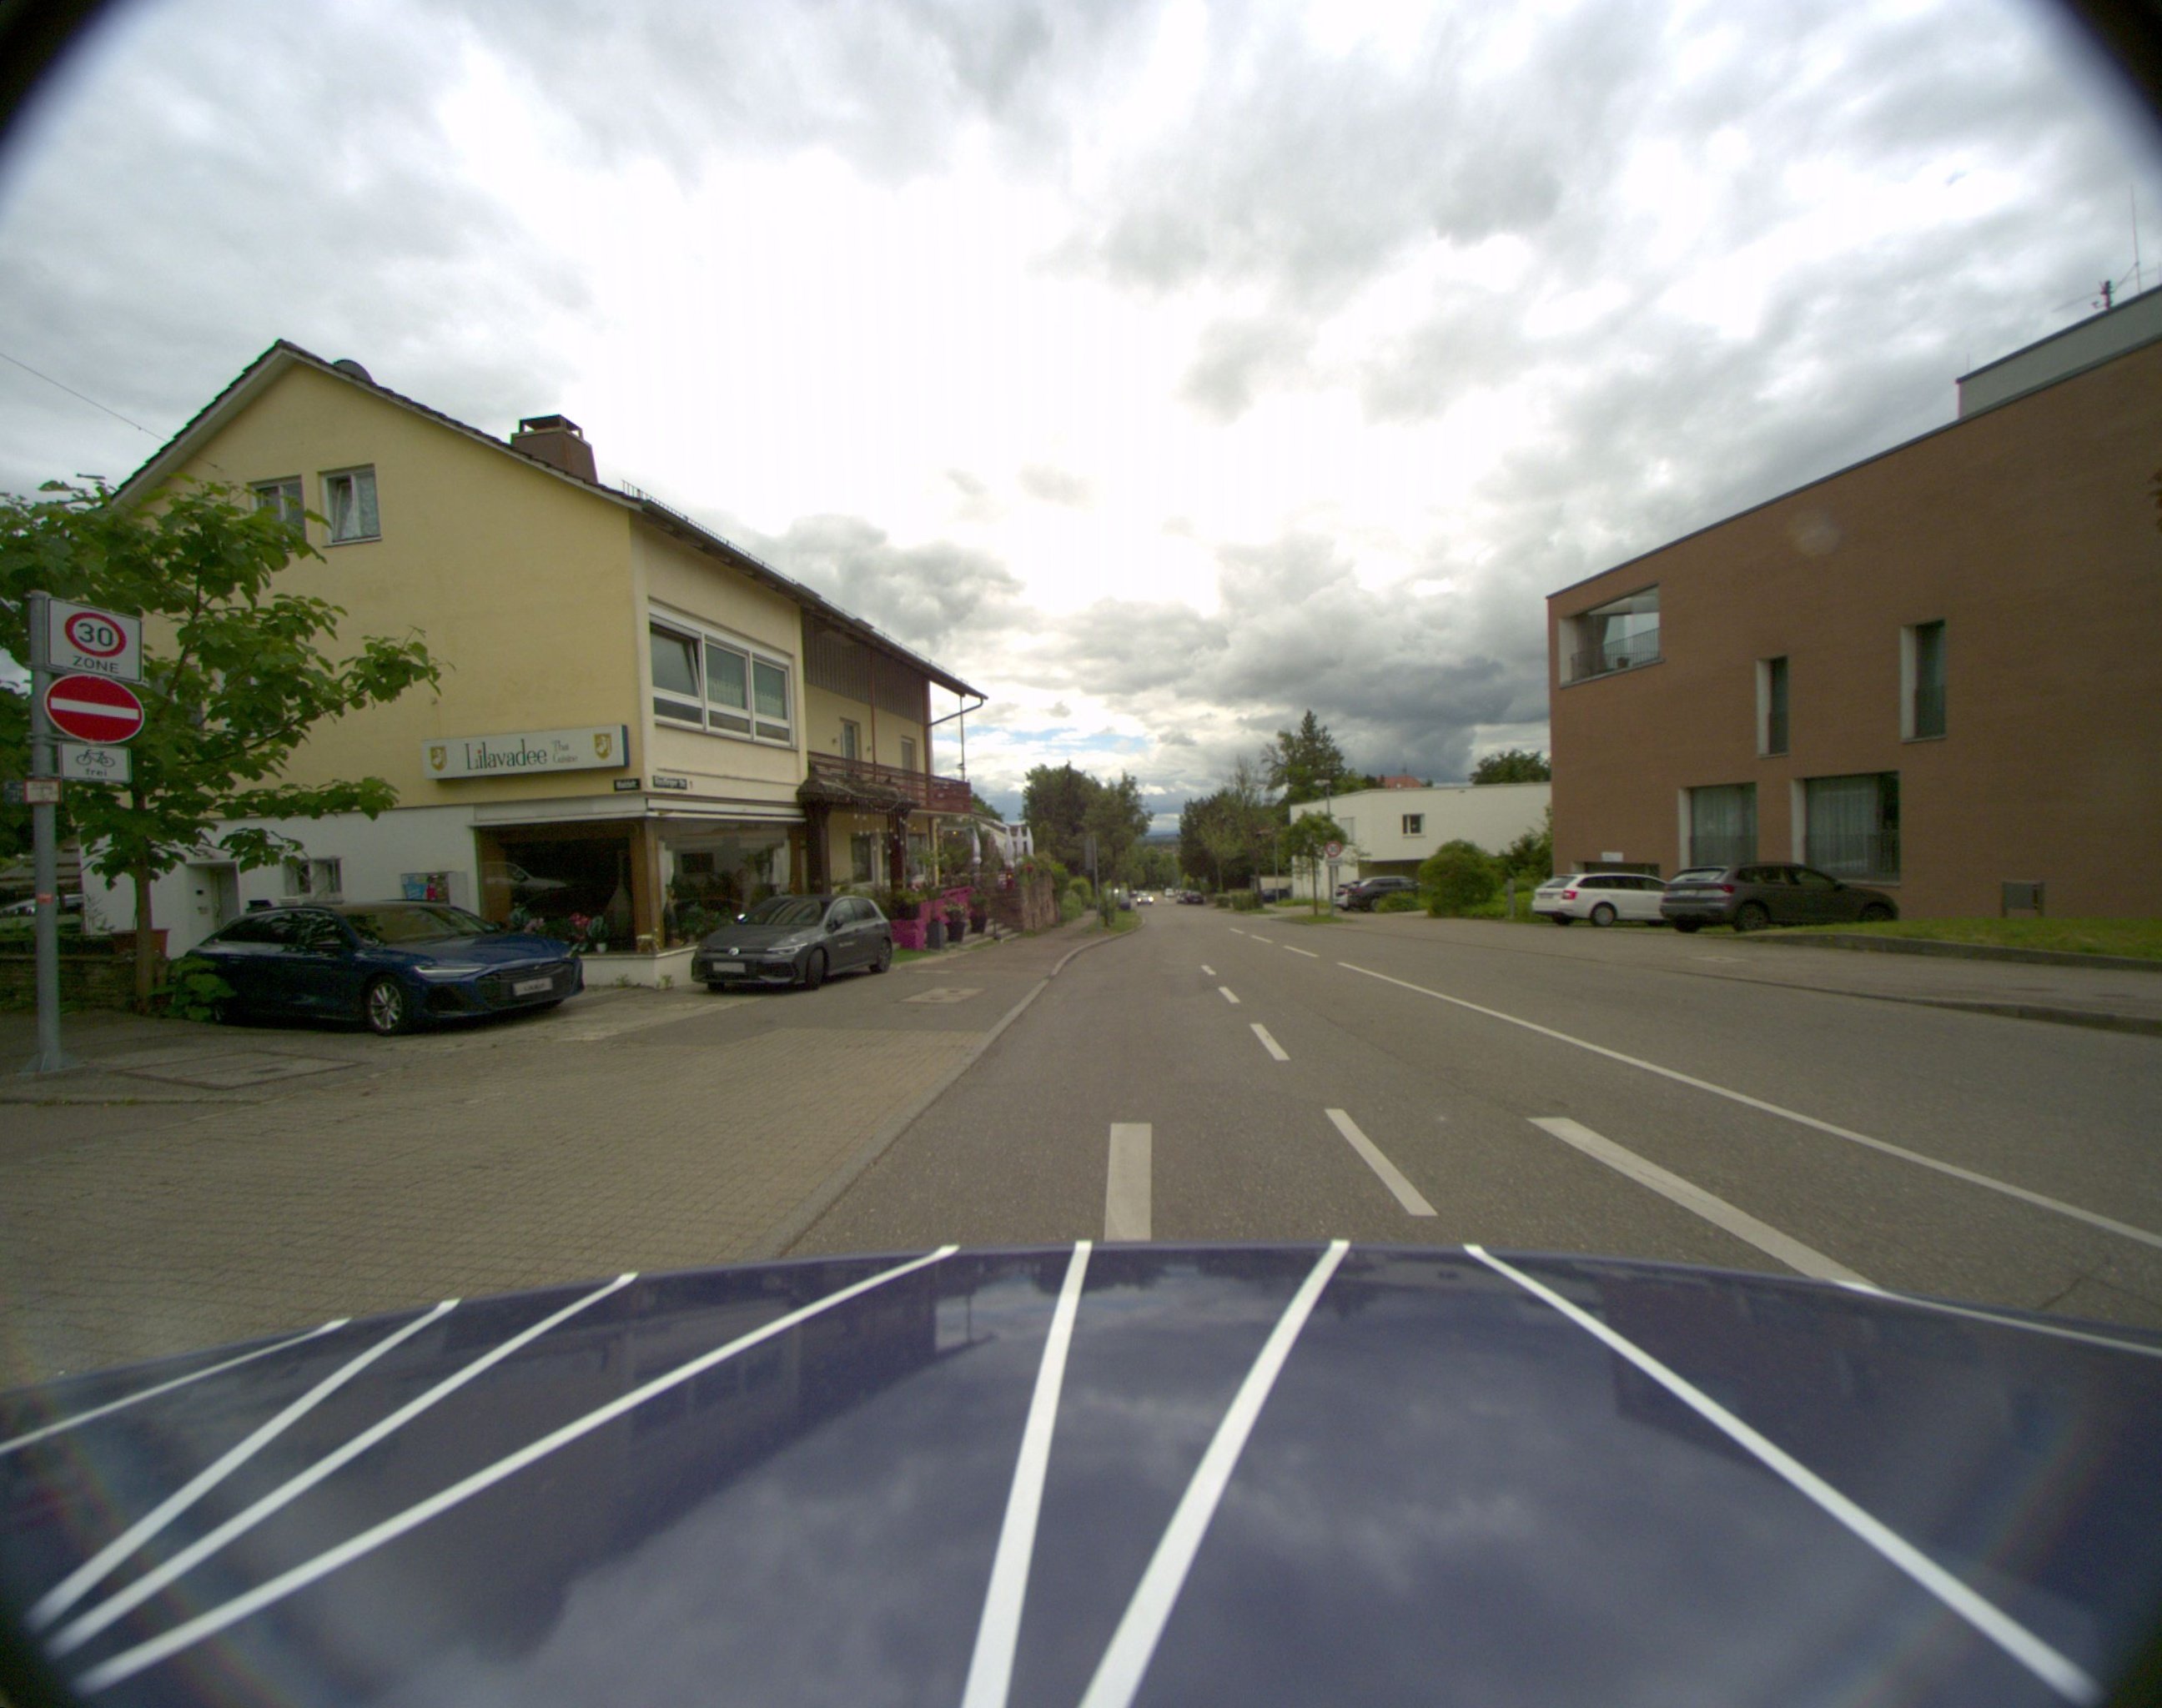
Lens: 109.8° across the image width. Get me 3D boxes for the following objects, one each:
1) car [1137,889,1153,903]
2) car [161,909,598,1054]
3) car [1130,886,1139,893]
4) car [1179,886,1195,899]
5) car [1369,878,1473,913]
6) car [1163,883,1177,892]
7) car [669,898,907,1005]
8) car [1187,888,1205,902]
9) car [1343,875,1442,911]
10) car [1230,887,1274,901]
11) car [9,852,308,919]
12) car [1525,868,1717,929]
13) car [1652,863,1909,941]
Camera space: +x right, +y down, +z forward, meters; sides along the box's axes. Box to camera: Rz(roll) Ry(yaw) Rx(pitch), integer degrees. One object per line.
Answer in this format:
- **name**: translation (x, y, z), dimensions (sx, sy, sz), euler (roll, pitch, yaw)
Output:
- **car**: translation (7.424, 4.827, 88.002), dimensions (1.725, 1.476, 4.004), euler (-2, -3, 5)
- **car**: translation (-8.528, 1.417, 9.281), dimensions (4.739, 1.378, 1.802), euler (-2, -1, 18)
- **car**: translation (12.968, 8.565, 184.044), dimensions (1.883, 1.412, 4.369), euler (-1, -1, 1)
- **car**: translation (12.496, 4.545, 89.569), dimensions (1.661, 1.412, 4.372), euler (-2, -3, 6)
- **car**: translation (15.601, 1.892, 35.028), dimensions (3.996, 1.476, 1.728), euler (-2, -3, 3)
- **car**: translation (16.202, 6.055, 137.966), dimensions (1.884, 1.412, 4.368), euler (-1, -1, -2)
- **car**: translation (-4.542, 1.477, 12.618), dimensions (1.796, 1.452, 4.332), euler (-1, -4, 8)
- **car**: translation (12.179, 4.290, 80.571), dimensions (1.661, 1.412, 4.004), euler (-2, -3, 6)
- **car**: translation (15.055, 1.890, 36.870), dimensions (3.996, 1.585, 1.795), euler (-2, -3, 3)
- **car**: translation (16.546, 3.876, 73.722), dimensions (3.995, 1.278, 1.665), euler (-2, -3, 7)
- **car**: translation (-22.571, 0.823, 18.861), dimensions (1.795, 1.452, 4.336), euler (-2, -4, 22)
- **car**: translation (14.615, 1.207, 20.706), dimensions (3.998, 1.476, 1.727), euler (-1, -3, -3)
- **car**: translation (14.915, 1.010, 16.345), dimensions (3.998, 1.476, 1.727), euler (-1, -3, -3)
